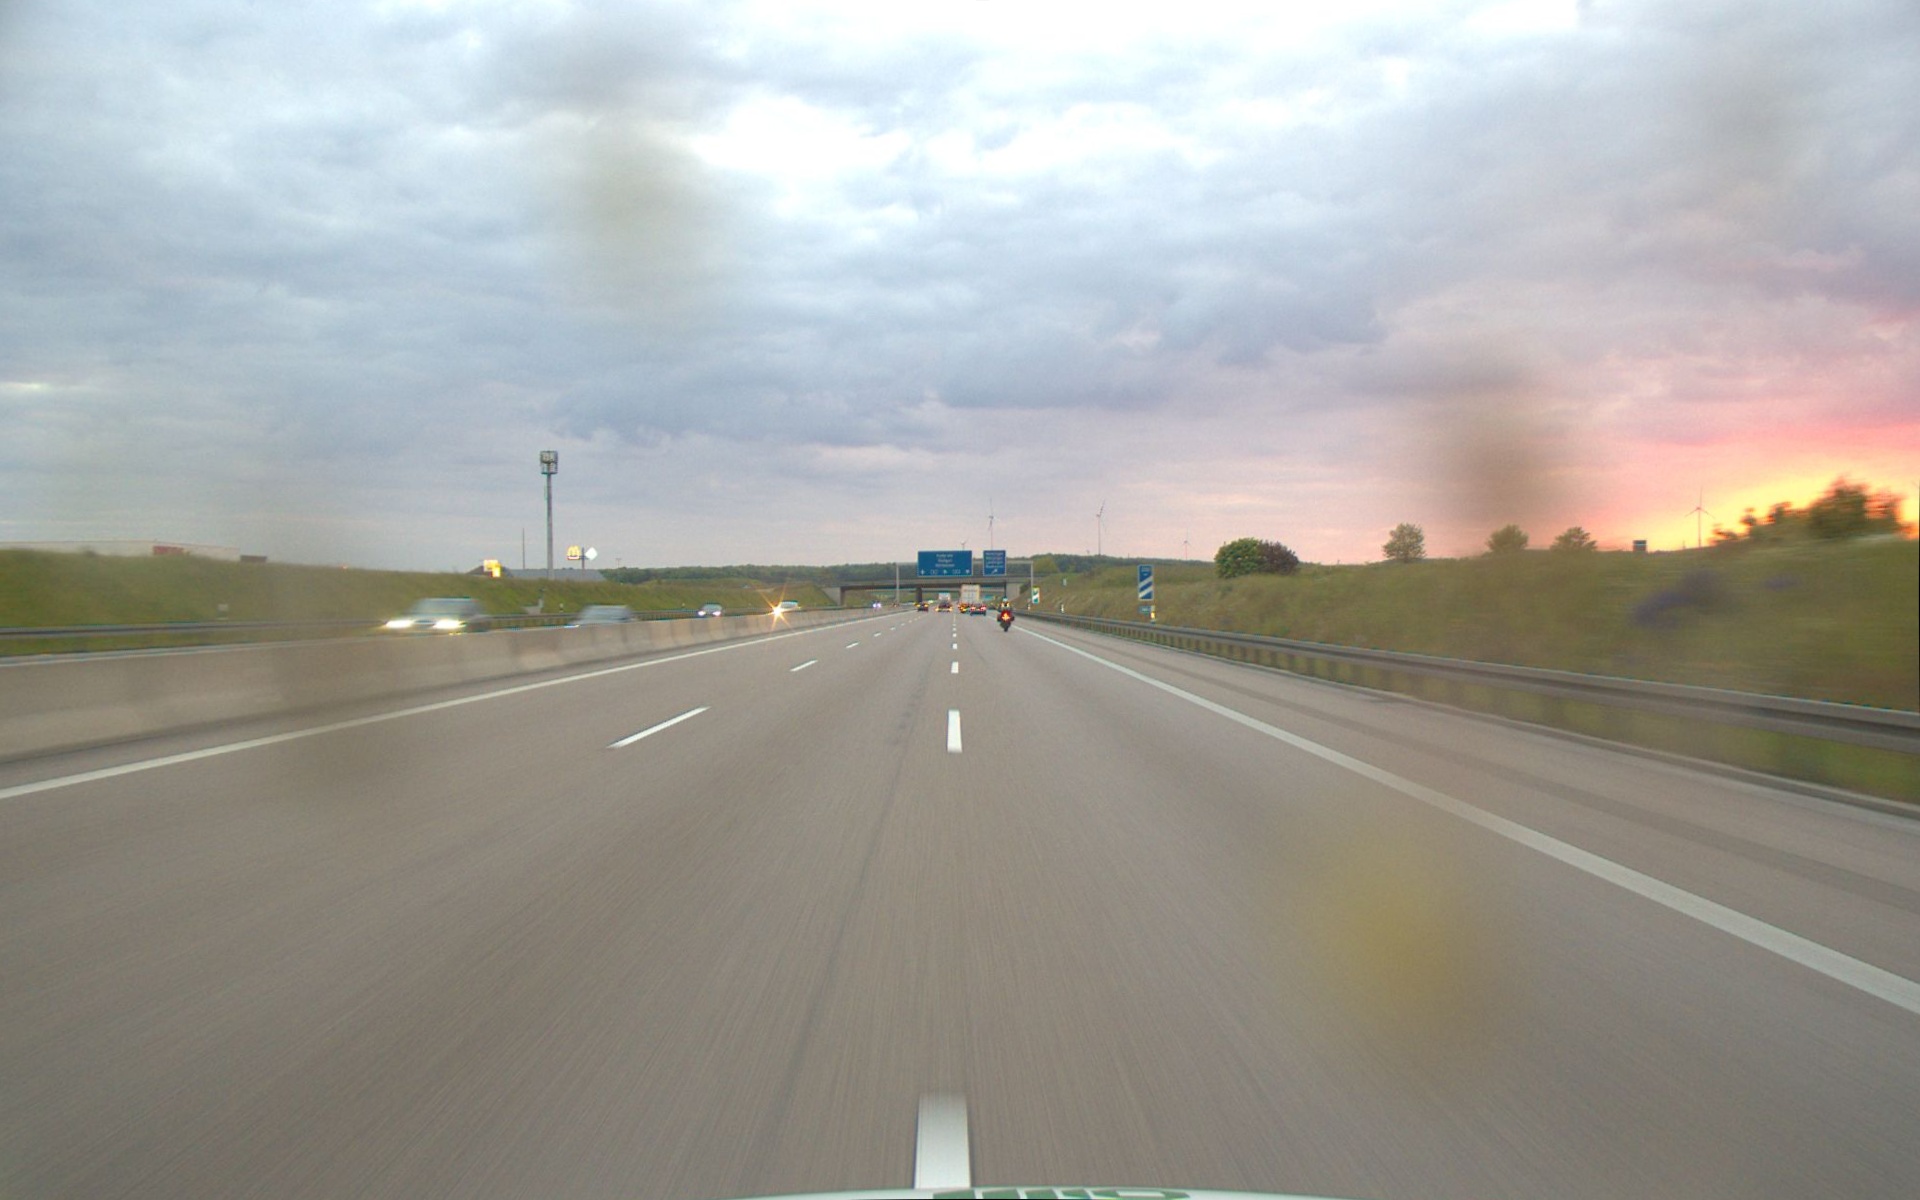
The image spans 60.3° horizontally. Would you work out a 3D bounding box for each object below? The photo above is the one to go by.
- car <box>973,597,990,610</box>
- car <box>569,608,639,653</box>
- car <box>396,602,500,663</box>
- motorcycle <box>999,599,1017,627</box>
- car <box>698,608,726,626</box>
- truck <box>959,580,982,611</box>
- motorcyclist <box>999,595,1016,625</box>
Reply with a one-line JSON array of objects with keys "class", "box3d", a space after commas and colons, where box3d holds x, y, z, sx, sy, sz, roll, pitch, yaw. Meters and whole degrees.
[{"class": "car", "box3d": [2.560, 0.407, 195.432, 1.879, 1.607, 3.999, 0, 0, -1]}, {"class": "car", "box3d": [-12.990, 1.085, 60.529, 1.703, 1.525, 4.130, 0, 0, -1]}, {"class": "car", "box3d": [-16.745, 1.027, 54.357, 2.058, 1.842, 5.018, 0, 0, -3]}, {"class": "motorcycle", "box3d": [2.456, 0.669, 85.328, 0.883, 1.370, 2.349, 0, 1, 0]}, {"class": "car", "box3d": [-20.581, 1.433, 137.268, 1.703, 1.417, 4.342, 0, 0, -1]}, {"class": "truck", "box3d": [1.561, -0.679, 238.433, 3.167, 4.301, 9.598, 1, 0, 0]}, {"class": "motorcyclist", "box3d": [2.432, 0.511, 85.212, 0.848, 1.513, 1.168, 1, 0, 1]}]
